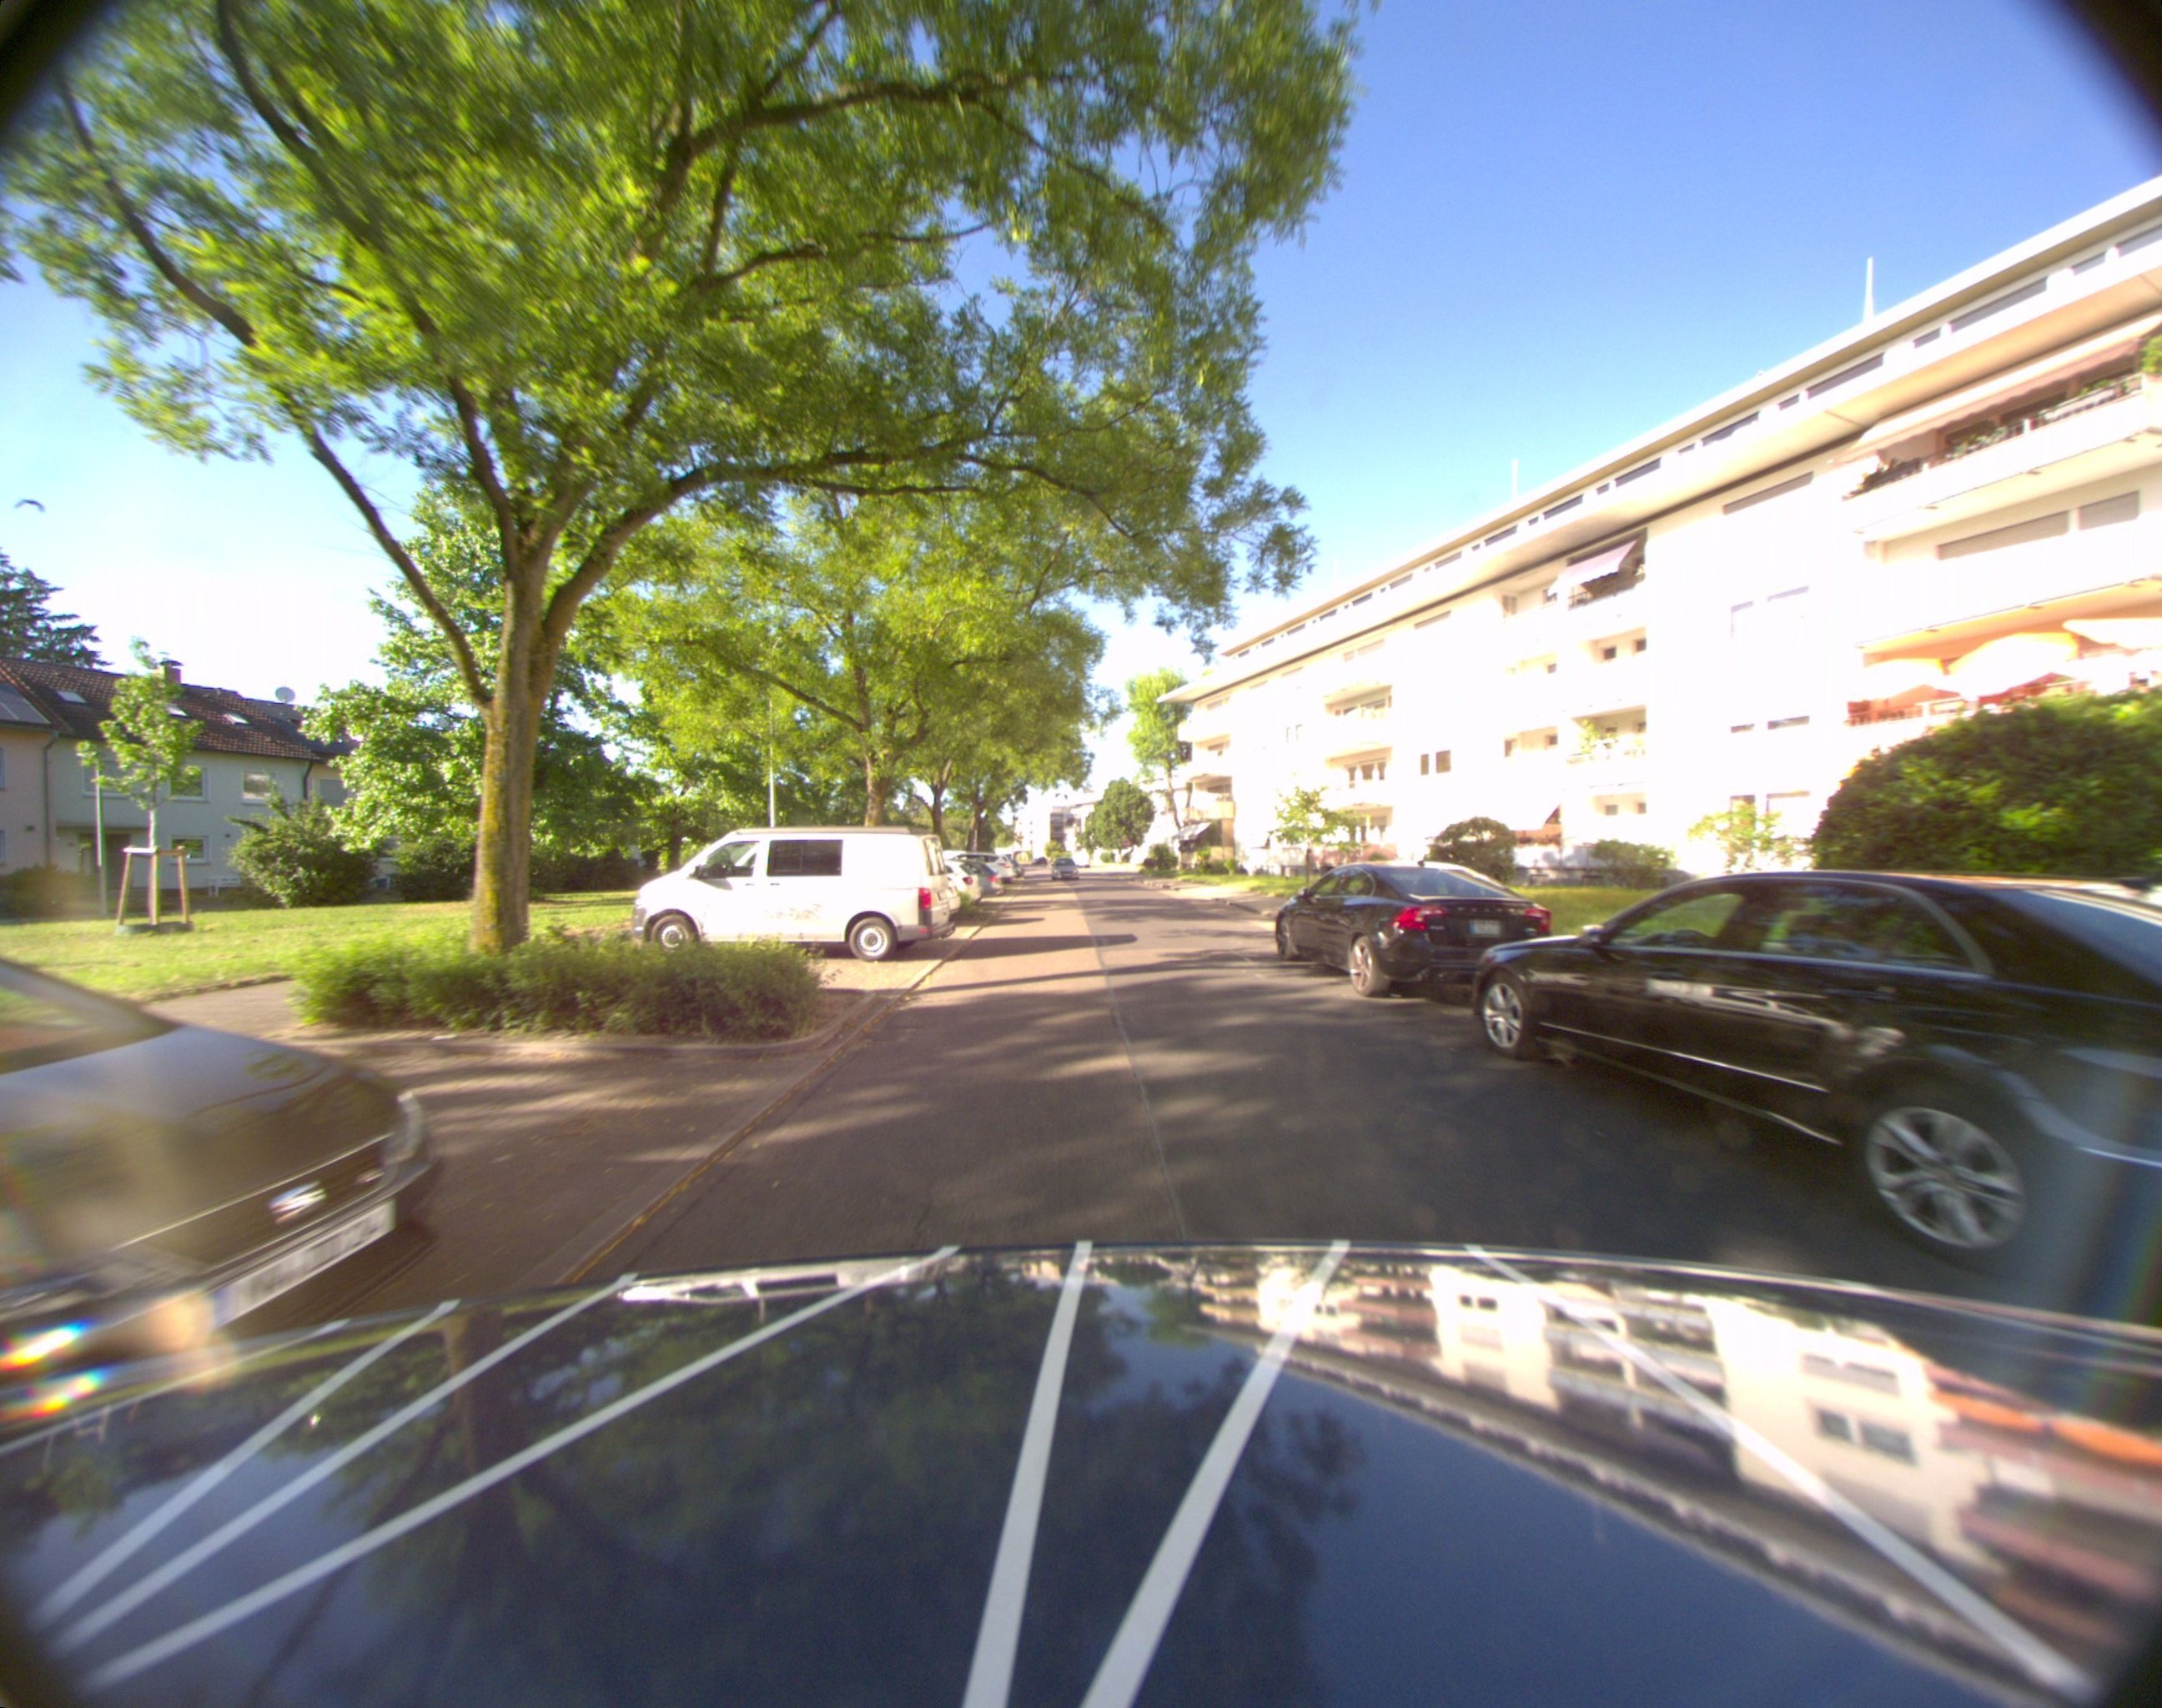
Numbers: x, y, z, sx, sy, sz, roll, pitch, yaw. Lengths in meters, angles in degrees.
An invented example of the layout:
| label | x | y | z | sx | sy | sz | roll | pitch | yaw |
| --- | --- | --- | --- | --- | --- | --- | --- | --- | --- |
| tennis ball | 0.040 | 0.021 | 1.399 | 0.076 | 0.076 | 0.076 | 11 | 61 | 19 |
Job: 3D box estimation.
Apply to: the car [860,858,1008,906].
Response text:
| label | x | y | z | sx | sy | sz | roll | pitch | yaw |
| --- | --- | --- | --- | --- | --- | --- | --- | --- | --- |
| car | -4.644 | 0.882 | 24.526 | 4.492 | 1.463 | 1.745 | 0 | 1 | -3 |

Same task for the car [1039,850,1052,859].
| label | x | y | z | sx | sy | sz | roll | pitch | yaw |
| --- | --- | --- | --- | --- | --- | --- | --- | --- | --- |
| car | -6.647 | 0.051 | 142.858 | 1.795 | 1.535 | 4.048 | -4 | 1 | -11 |

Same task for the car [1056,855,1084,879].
| label | x | y | z | sx | sy | sz | roll | pitch | yaw |
| --- | --- | --- | --- | --- | --- | --- | --- | --- | --- |
| car | -0.751 | 0.828 | 50.914 | 1.597 | 1.417 | 4.168 | 2 | 1 | -4 |

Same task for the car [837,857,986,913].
| label | x | y | z | sx | sy | sz | roll | pitch | yaw |
| --- | --- | --- | --- | --- | --- | --- | --- | --- | --- |
| car | -4.809 | 0.861 | 21.911 | 3.917 | 1.427 | 1.636 | 1 | 1 | 0 |

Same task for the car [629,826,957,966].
| label | x | y | z | sx | sy | sz | roll | pitch | yaw |
| --- | --- | --- | --- | --- | --- | --- | --- | --- | --- |
| car | -4.409 | 0.611 | 12.176 | 4.462 | 2.005 | 2.021 | 1 | 1 | 1 |

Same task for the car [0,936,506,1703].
| label | x | y | z | sx | sy | sz | roll | pitch | yaw |
| --- | --- | --- | --- | --- | --- | --- | --- | --- | --- |
| car | -4.440 | 1.018 | 2.006 | 4.463 | 1.406 | 1.774 | 0 | 0 | -1 |

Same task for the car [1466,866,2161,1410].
| label | x | y | z | sx | sy | sz | roll | pitch | yaw |
| --- | --- | --- | --- | --- | --- | --- | --- | --- | --- |
| car | 4.030 | 0.883 | 3.732 | 1.845 | 1.473 | 4.574 | 2 | 1 | -1 |

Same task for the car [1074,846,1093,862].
| label | x | y | z | sx | sy | sz | roll | pitch | yaw |
| --- | --- | --- | --- | --- | --- | --- | --- | --- | --- |
| car | 0.265 | 0.005 | 95.532 | 2.007 | 1.837 | 4.613 | -3 | 1 | -5 |

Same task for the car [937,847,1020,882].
| label | x | y | z | sx | sy | sz | roll | pitch | yaw |
| --- | --- | --- | --- | --- | --- | --- | --- | --- | --- |
| car | -5.676 | 0.574 | 42.157 | 4.446 | 1.911 | 1.744 | 0 | 1 | -7 |

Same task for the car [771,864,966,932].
| label | x | y | z | sx | sy | sz | roll | pitch | yaw |
| --- | --- | --- | --- | --- | --- | --- | --- | --- | --- |
| car | -4.725 | 0.954 | 17.230 | 3.916 | 1.427 | 1.636 | 0 | 0 | 3 |

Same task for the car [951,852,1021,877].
| label | x | y | z | sx | sy | sz | roll | pitch | yaw |
| --- | --- | --- | --- | --- | --- | --- | --- | --- | --- |
| car | -5.830 | 0.660 | 46.937 | 4.151 | 1.400 | 1.744 | 1 | 1 | -5 |

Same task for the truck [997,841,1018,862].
| label | x | y | z | sx | sy | sz | roll | pitch | yaw |
| --- | --- | --- | --- | --- | --- | --- | --- | --- | --- |
| truck | -10.515 | -0.336 | 108.472 | 2.764 | 2.785 | 8.261 | 1 | 0 | -6 |

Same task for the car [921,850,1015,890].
| label | x | y | z | sx | sy | sz | roll | pitch | yaw |
| --- | --- | --- | --- | --- | --- | --- | --- | --- | --- |
| car | -5.089 | 0.701 | 34.528 | 4.052 | 1.754 | 1.745 | 0 | 1 | -2 |

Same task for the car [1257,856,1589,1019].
| label | x | y | z | sx | sy | sz | roll | pitch | yaw |
| --- | --- | --- | --- | --- | --- | --- | --- | --- | --- |
| car | 3.768 | 0.795 | 9.519 | 1.845 | 1.473 | 4.799 | 0 | 1 | -2 |

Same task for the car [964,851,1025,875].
| label | x | y | z | sx | sy | sz | roll | pitch | yaw |
| --- | --- | --- | --- | --- | --- | --- | --- | --- | --- |
| car | -5.889 | 0.606 | 52.265 | 4.053 | 1.544 | 1.744 | 1 | 1 | -4 |
